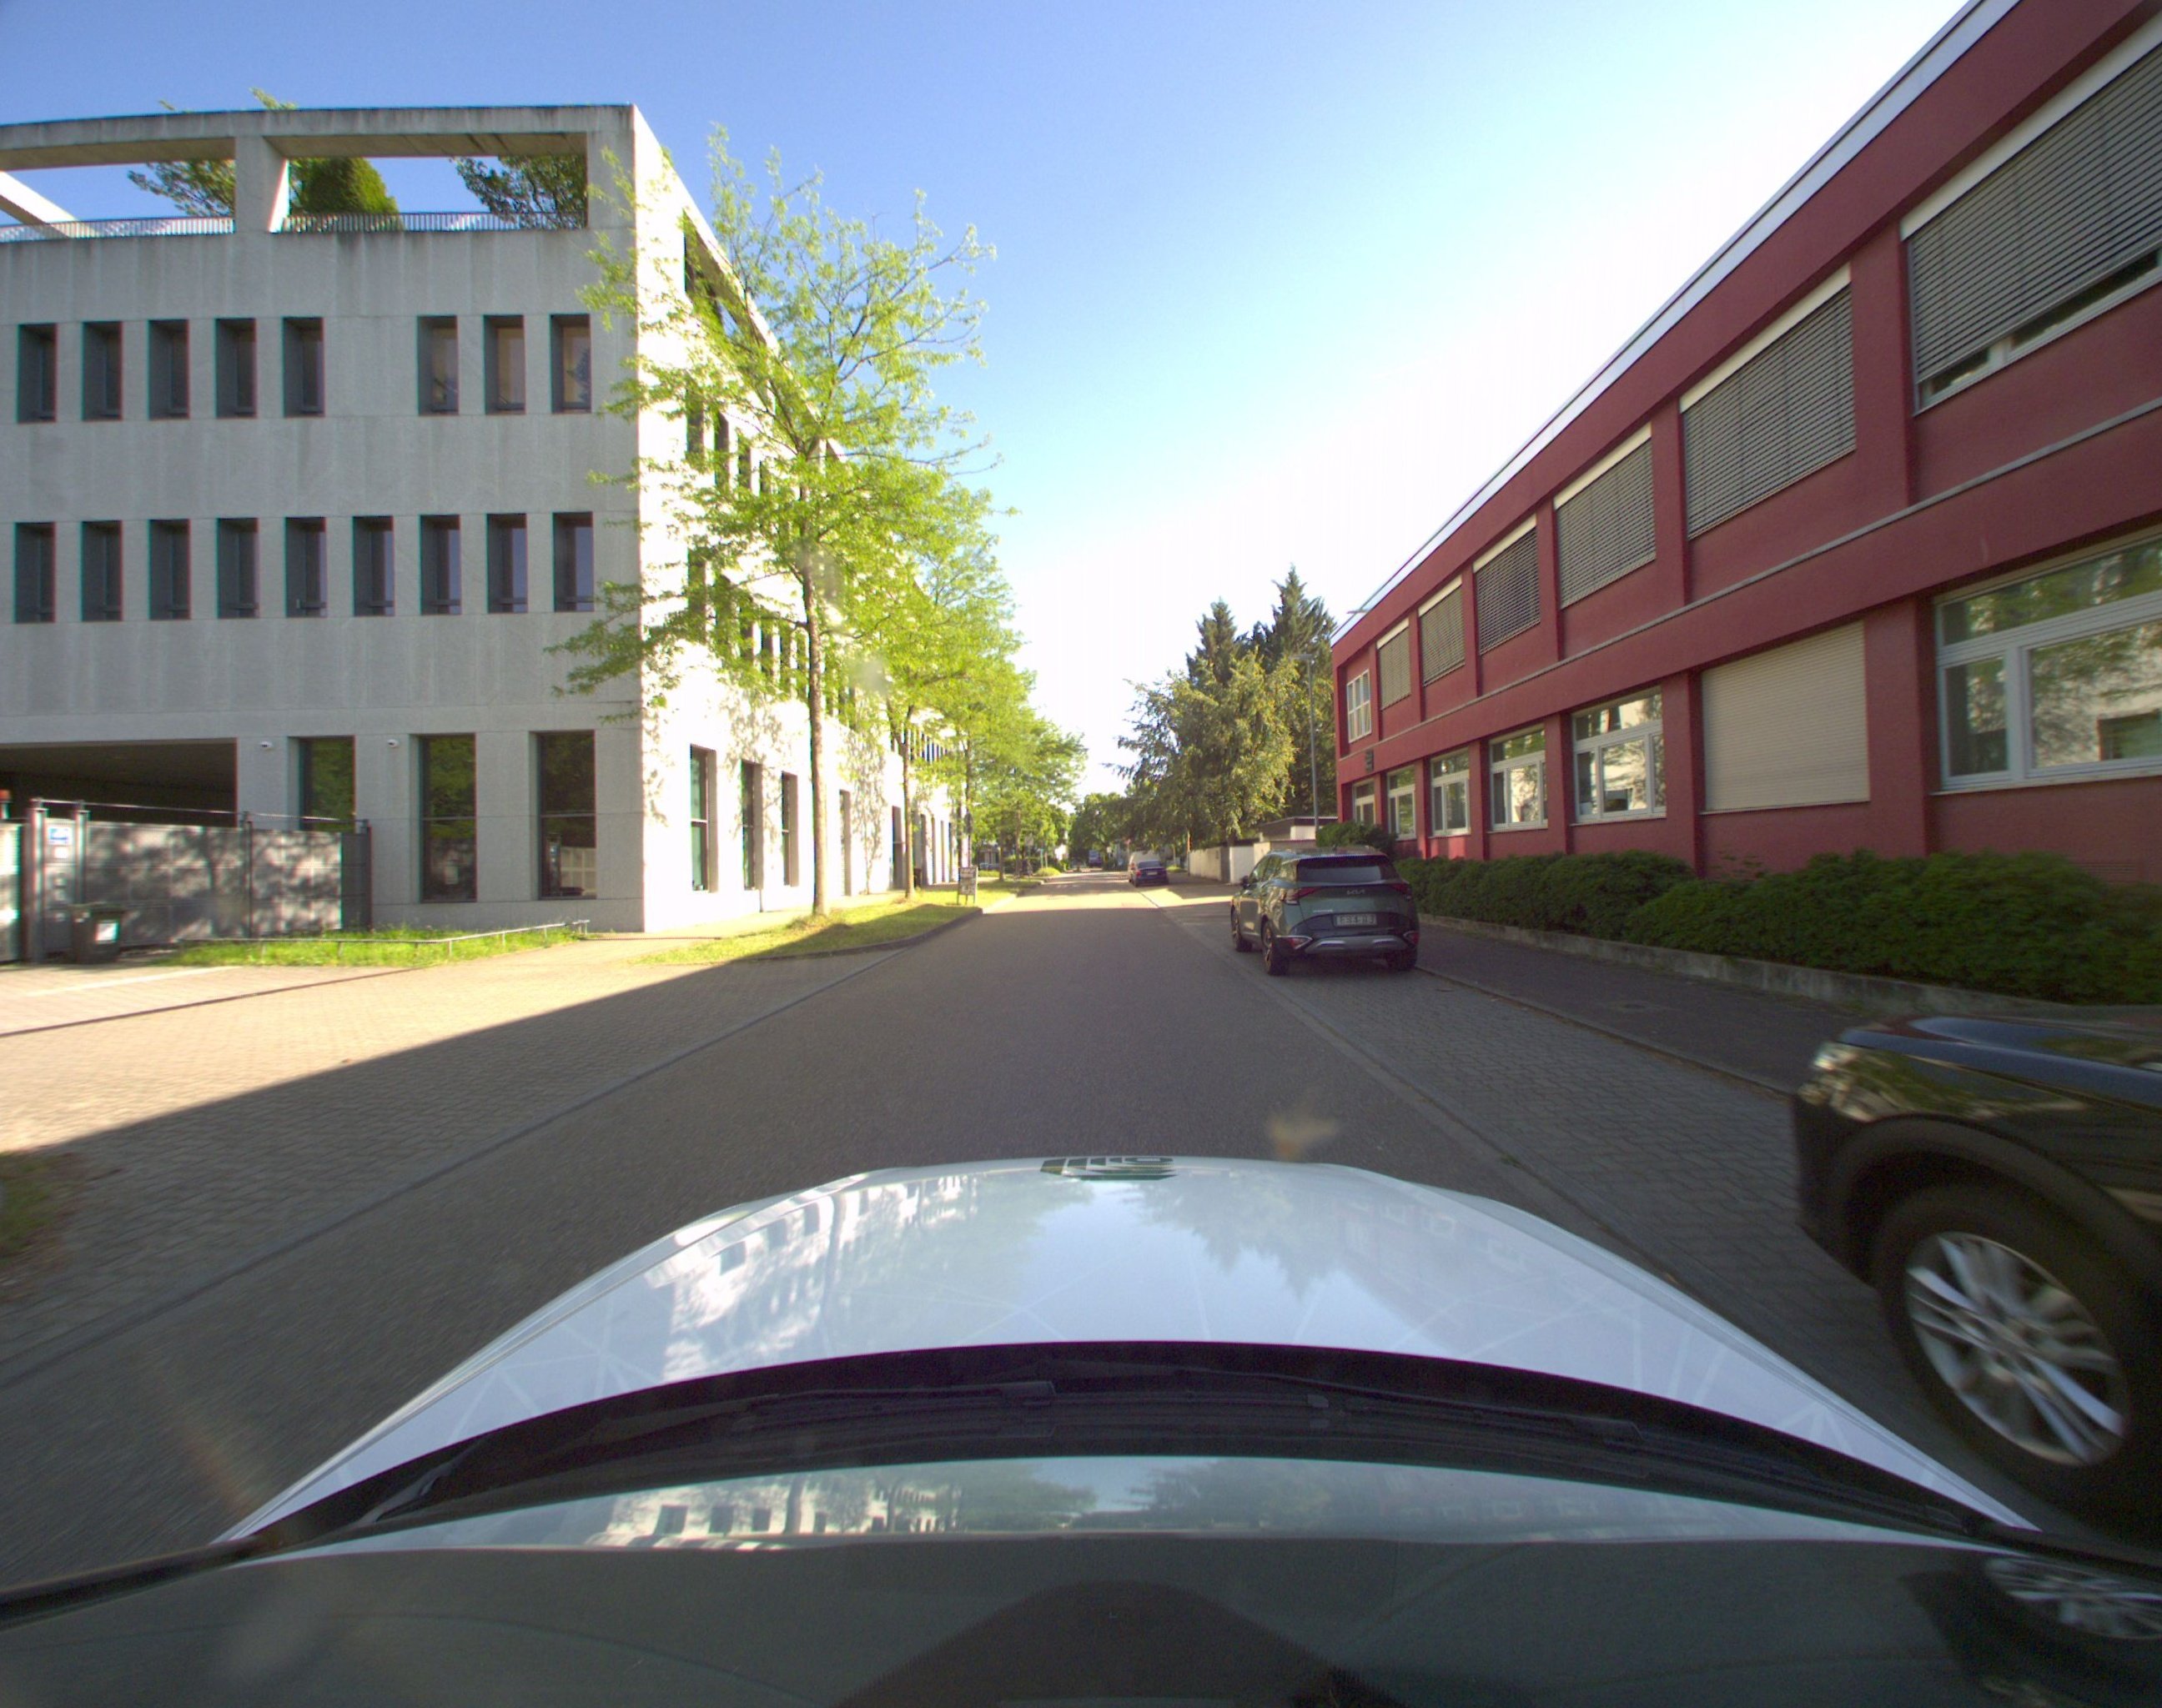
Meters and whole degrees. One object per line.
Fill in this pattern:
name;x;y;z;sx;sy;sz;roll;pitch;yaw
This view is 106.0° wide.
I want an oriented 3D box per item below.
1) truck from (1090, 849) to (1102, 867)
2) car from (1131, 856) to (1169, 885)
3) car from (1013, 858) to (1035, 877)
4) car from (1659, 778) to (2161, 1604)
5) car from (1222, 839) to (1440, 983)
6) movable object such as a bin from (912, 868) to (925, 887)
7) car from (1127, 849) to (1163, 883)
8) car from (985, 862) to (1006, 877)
truck;3.376;0.919;181.312;2.750;3.869;9.332;0;-1;1
car;3.701;0.856;44.458;1.819;1.423;4.284;-2;-1;2
car;-6.071;1.408;86.751;1.867;1.846;4.169;-2;1;1
car;3.011;0.625;0.756;1.867;1.630;4.408;-2;-1;2
car;3.335;0.689;11.815;1.891;1.630;4.374;-2;-1;2
movable object such as a bin;-8.941;1.270;44.724;0.591;1.040;0.543;0;-1;-1
car;3.920;0.741;50.670;1.891;1.914;5.150;-2;-1;2
car;-9.057;1.655;86.610;1.818;1.406;4.167;-2;1;-1
